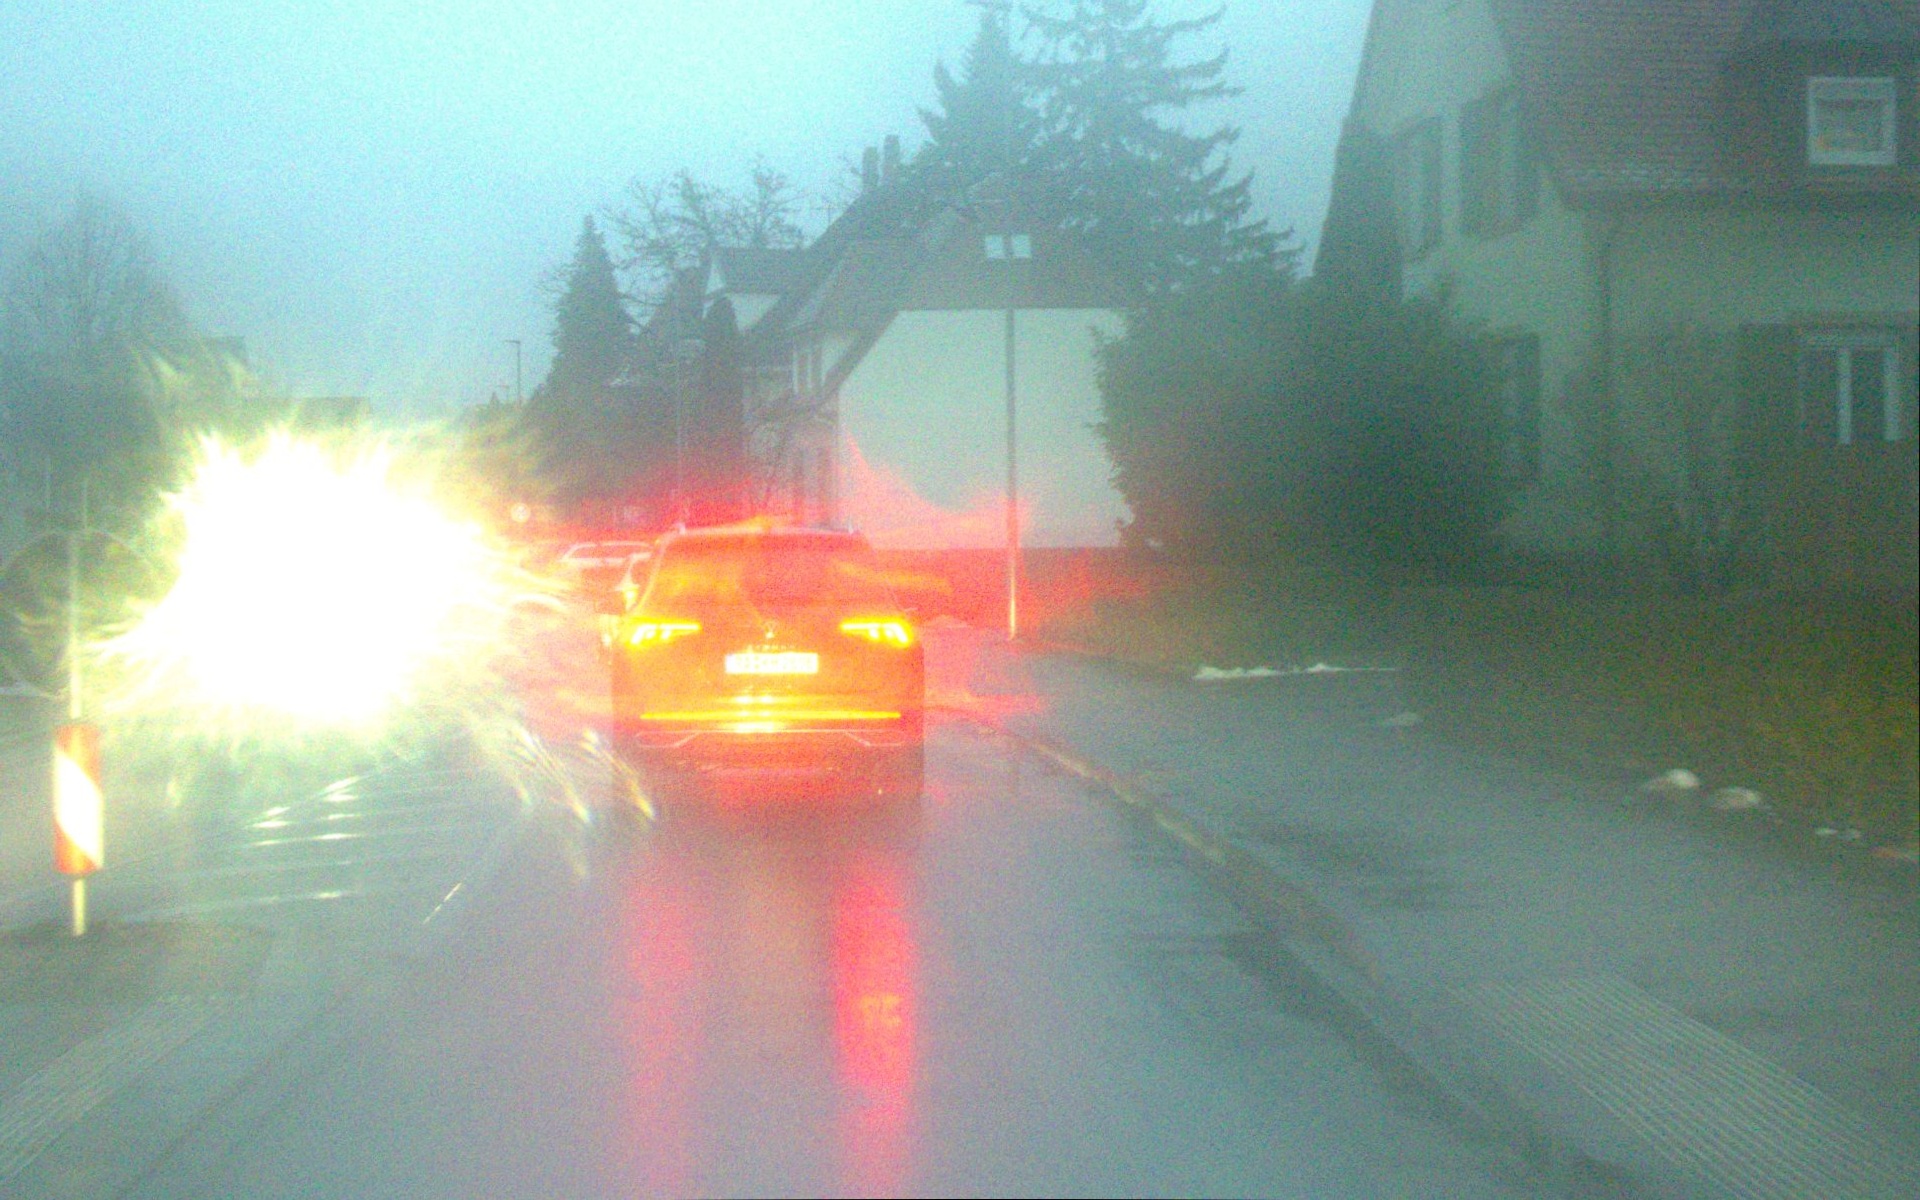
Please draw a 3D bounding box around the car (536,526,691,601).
[{"bbox_3d":[-9.806,-1.044,97.125,4.246,2.007,1.811,-1,1,-8],"label":"car"}]

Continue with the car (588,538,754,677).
[{"bbox_3d":[-3.703,0.054,43.508,1.857,1.641,4.001,0,1,-8],"label":"car"}]

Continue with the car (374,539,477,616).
[{"bbox_3d":[-14.067,-0.582,90.197,2.309,1.932,5.019,-1,0,-13],"label":"car"}]

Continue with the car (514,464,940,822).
[{"bbox_3d":[-1.452,0.216,21.416,2.309,1.932,5.019,-1,0,-4],"label":"car"}]

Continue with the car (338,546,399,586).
[{"bbox_3d":[-20.630,-1.193,119.775,1.842,1.327,3.939,-1,1,-13],"label":"car"}]

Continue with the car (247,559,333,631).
[{"bbox_3d":[-15.435,-0.143,79.324,1.823,1.548,4.001,-2,1,-10],"label":"car"}]
